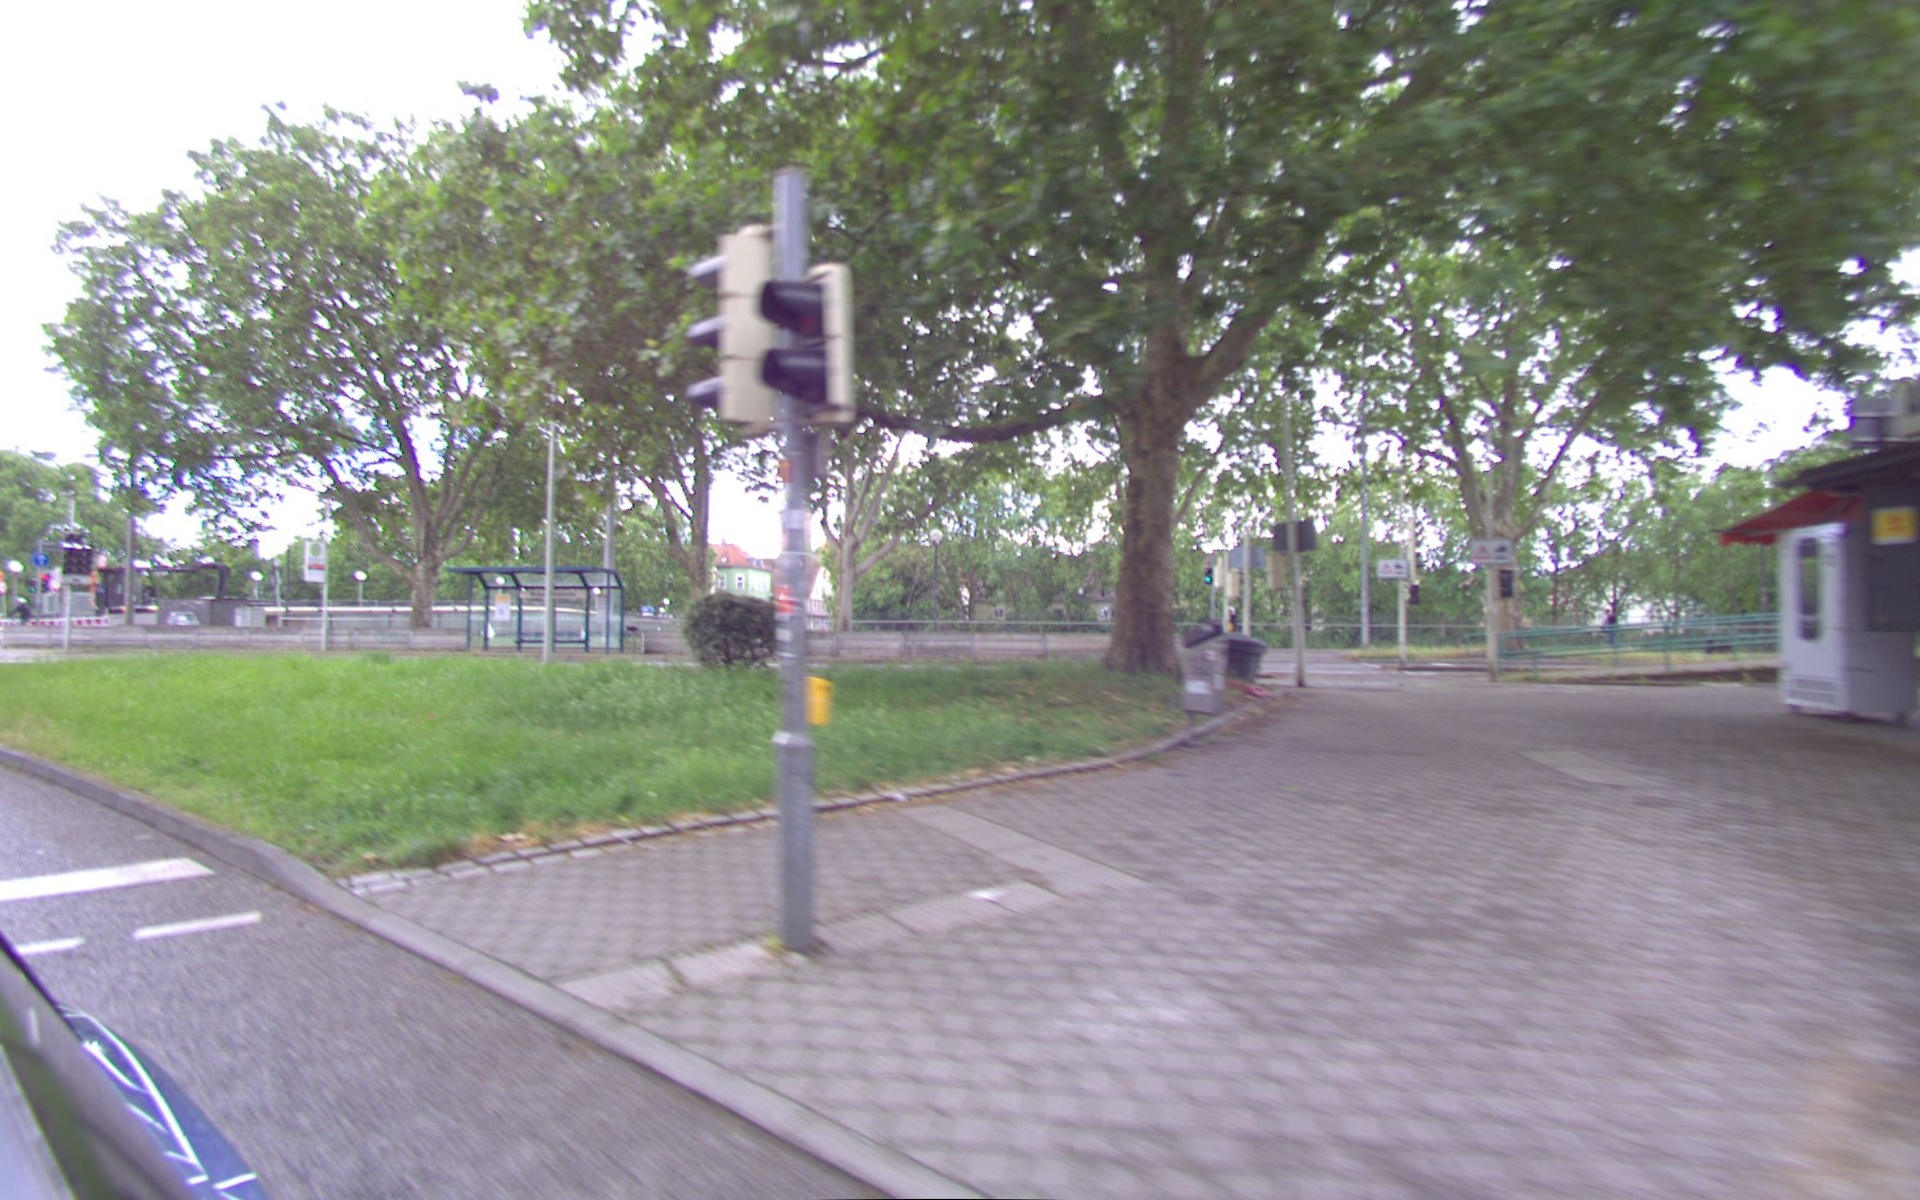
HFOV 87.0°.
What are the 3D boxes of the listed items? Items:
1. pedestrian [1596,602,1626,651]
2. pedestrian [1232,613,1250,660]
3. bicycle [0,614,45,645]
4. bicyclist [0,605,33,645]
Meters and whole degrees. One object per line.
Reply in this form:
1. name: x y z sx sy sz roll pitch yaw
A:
1. pedestrian: 22.130 0.884 34.419 0.525 1.635 0.668 0 2 -12
2. pedestrian: 10.006 1.288 36.064 0.528 1.635 0.500 0 1 10
3. bicycle: -40.124 1.232 42.676 2.227 1.287 0.693 0 2 -10
4. bicyclist: -39.936 1.045 42.702 0.991 1.663 0.644 0 2 -14
